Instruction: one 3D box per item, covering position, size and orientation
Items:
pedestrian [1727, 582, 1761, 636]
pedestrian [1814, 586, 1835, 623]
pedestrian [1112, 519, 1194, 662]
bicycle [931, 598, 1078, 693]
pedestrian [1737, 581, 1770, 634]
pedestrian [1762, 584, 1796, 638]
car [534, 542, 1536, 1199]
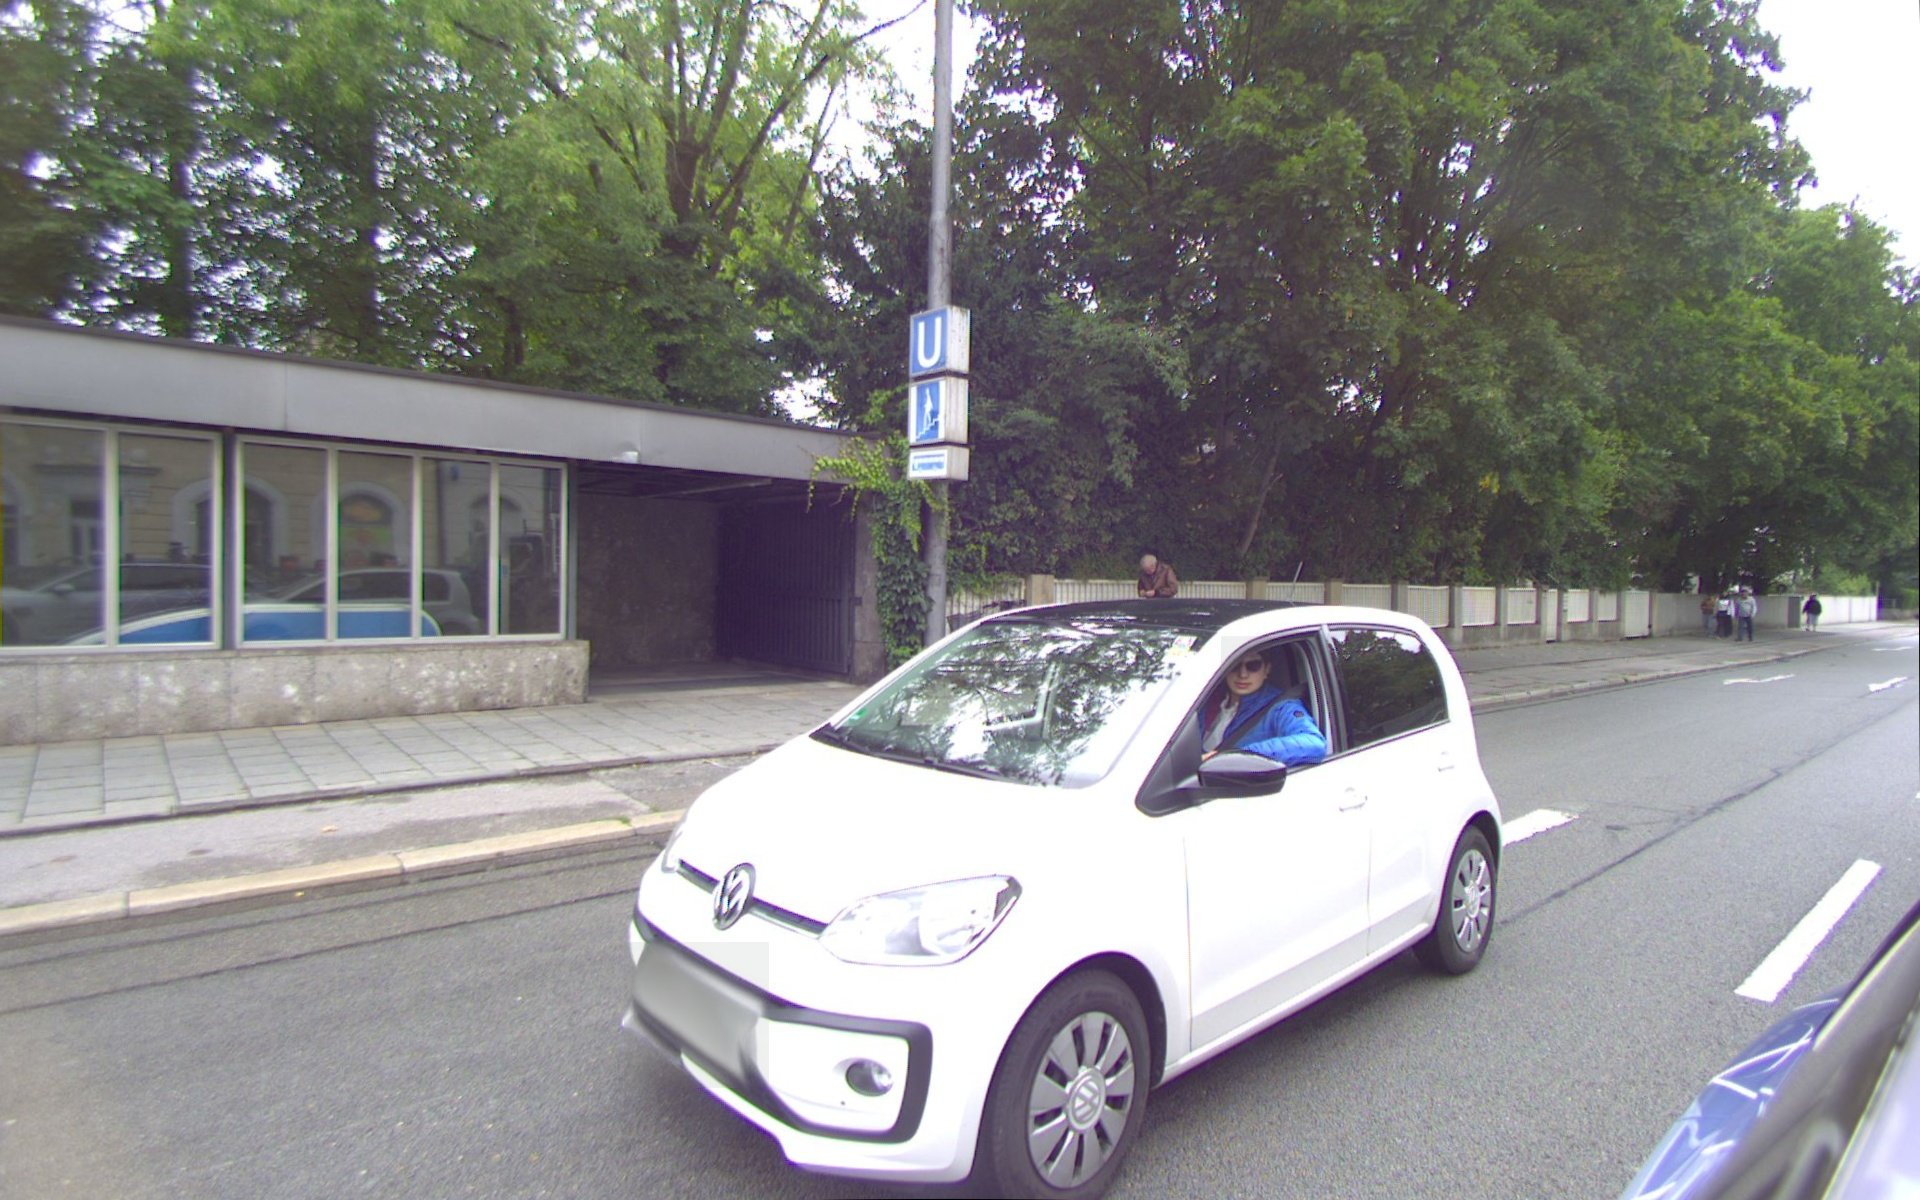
[{"bbox_3d":[26.291,0.293,33.936,0.753,1.726,0.667,0,3,-42],"label":"pedestrian"},{"bbox_3d":[38.484,0.197,45.042,0.716,1.600,0.529,0,3,-42],"label":"pedestrian"},{"bbox_3d":[2.765,-0.144,14.485,0.788,1.966,0.779,0,2,-40],"label":"pedestrian"},{"bbox_3d":[0.604,0.541,12.913,1.991,1.104,0.623,0,1,-41],"label":"bicycle"},{"bbox_3d":[26.494,0.251,33.783,0.753,1.726,0.667,0,3,-42],"label":"pedestrian"},{"bbox_3d":[26.946,0.343,33.291,0.753,1.726,0.667,0,3,-42],"label":"pedestrian"},{"bbox_3d":[0.544,0.656,3.680,3.524,1.581,1.645,0,1,-42],"label":"car"}]
